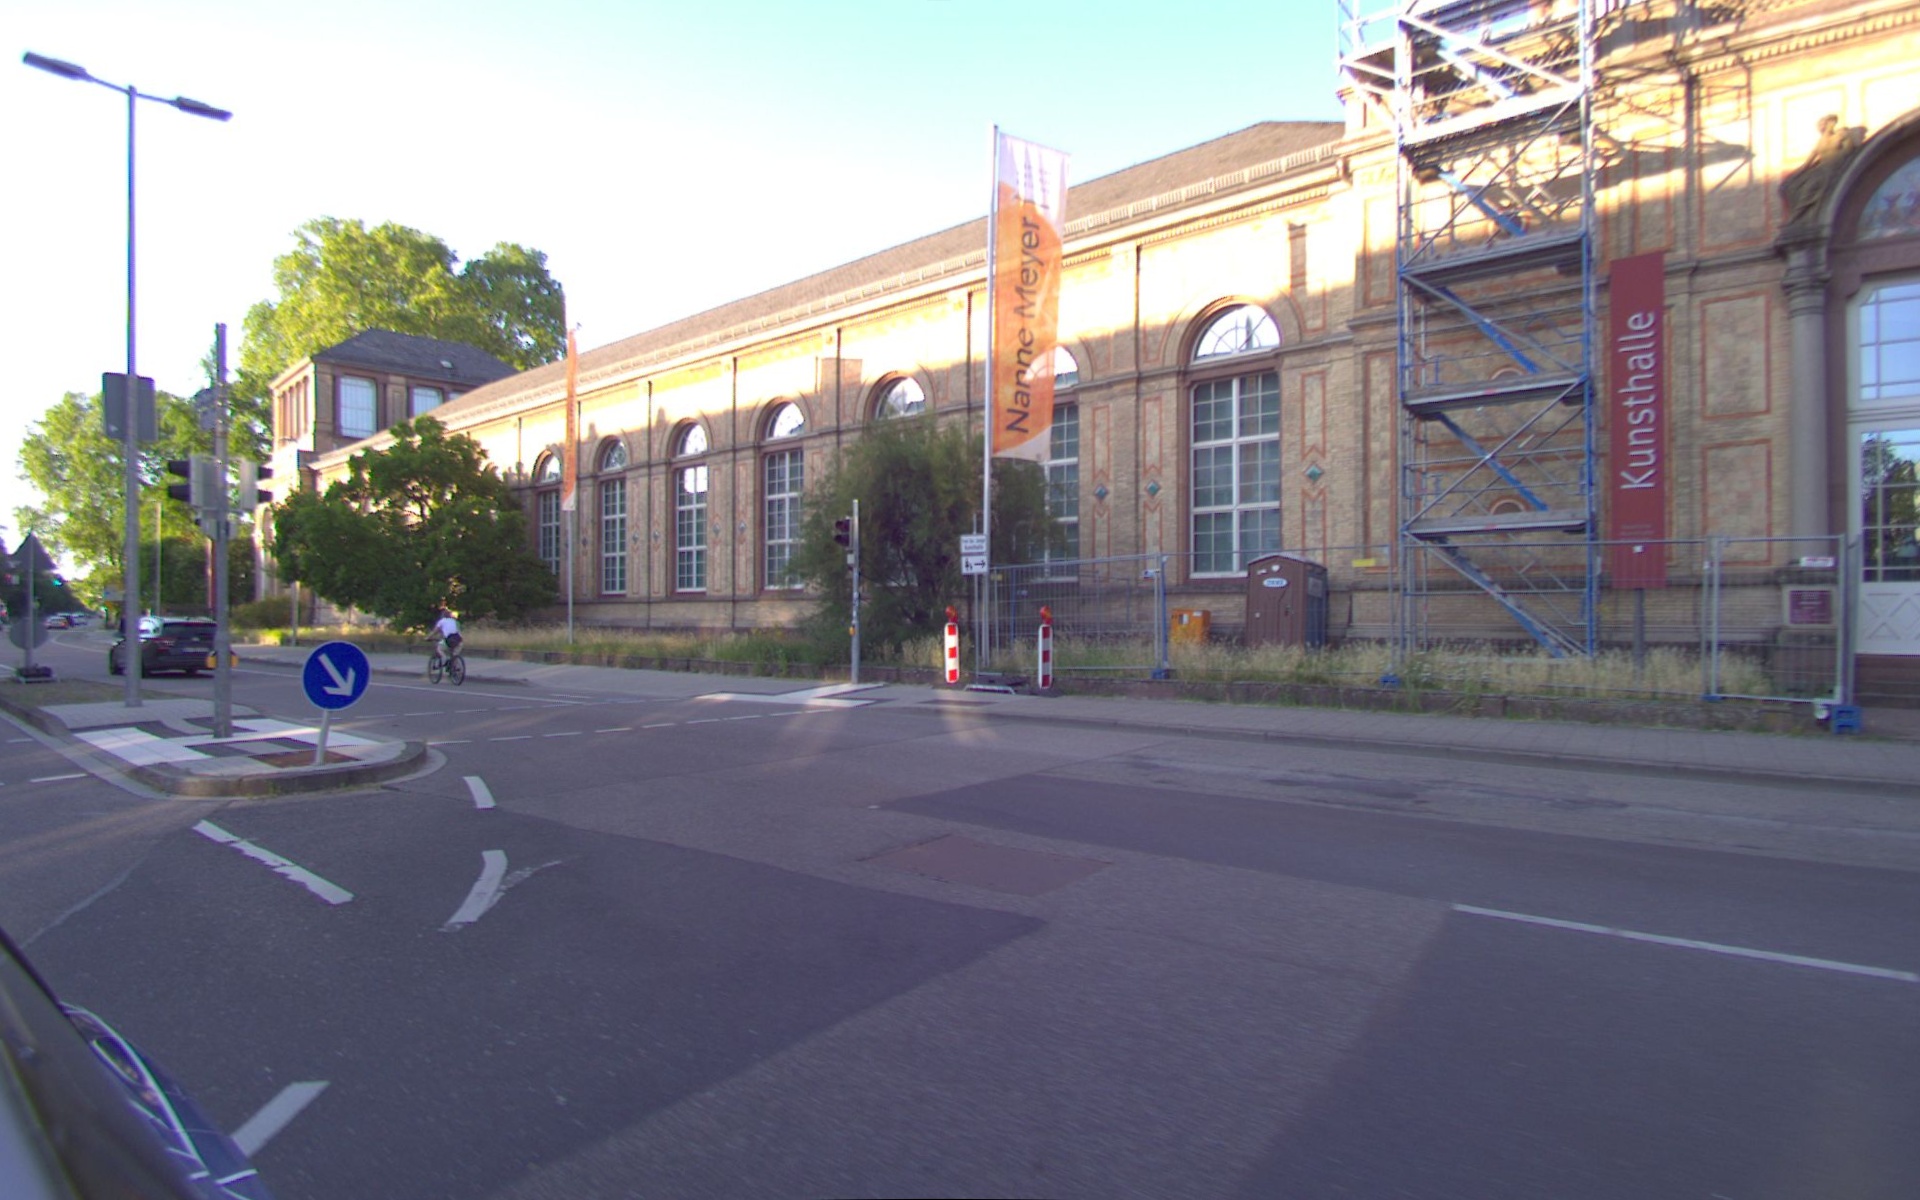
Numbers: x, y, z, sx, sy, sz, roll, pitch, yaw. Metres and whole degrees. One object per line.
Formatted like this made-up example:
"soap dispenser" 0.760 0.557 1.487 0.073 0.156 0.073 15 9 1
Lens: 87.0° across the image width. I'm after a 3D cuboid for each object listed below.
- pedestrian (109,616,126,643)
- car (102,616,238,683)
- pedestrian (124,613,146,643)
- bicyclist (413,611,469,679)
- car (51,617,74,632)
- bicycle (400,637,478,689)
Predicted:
"pedestrian" -48.917 1.720 58.782 0.836 1.525 0.666 -4 -3 44
"car" -19.630 1.177 25.075 4.424 1.519 1.804 -1 -3 41
"pedestrian" -48.259 1.634 59.218 0.795 1.751 0.852 0 -1 -24
"bicyclist" -11.626 1.005 22.687 0.935 1.471 0.740 -1 -3 35
"car" -102.348 2.766 115.412 1.892 1.697 4.006 0 -1 -41
"bicycle" -11.712 1.388 22.734 1.928 1.099 0.747 -1 -3 35
